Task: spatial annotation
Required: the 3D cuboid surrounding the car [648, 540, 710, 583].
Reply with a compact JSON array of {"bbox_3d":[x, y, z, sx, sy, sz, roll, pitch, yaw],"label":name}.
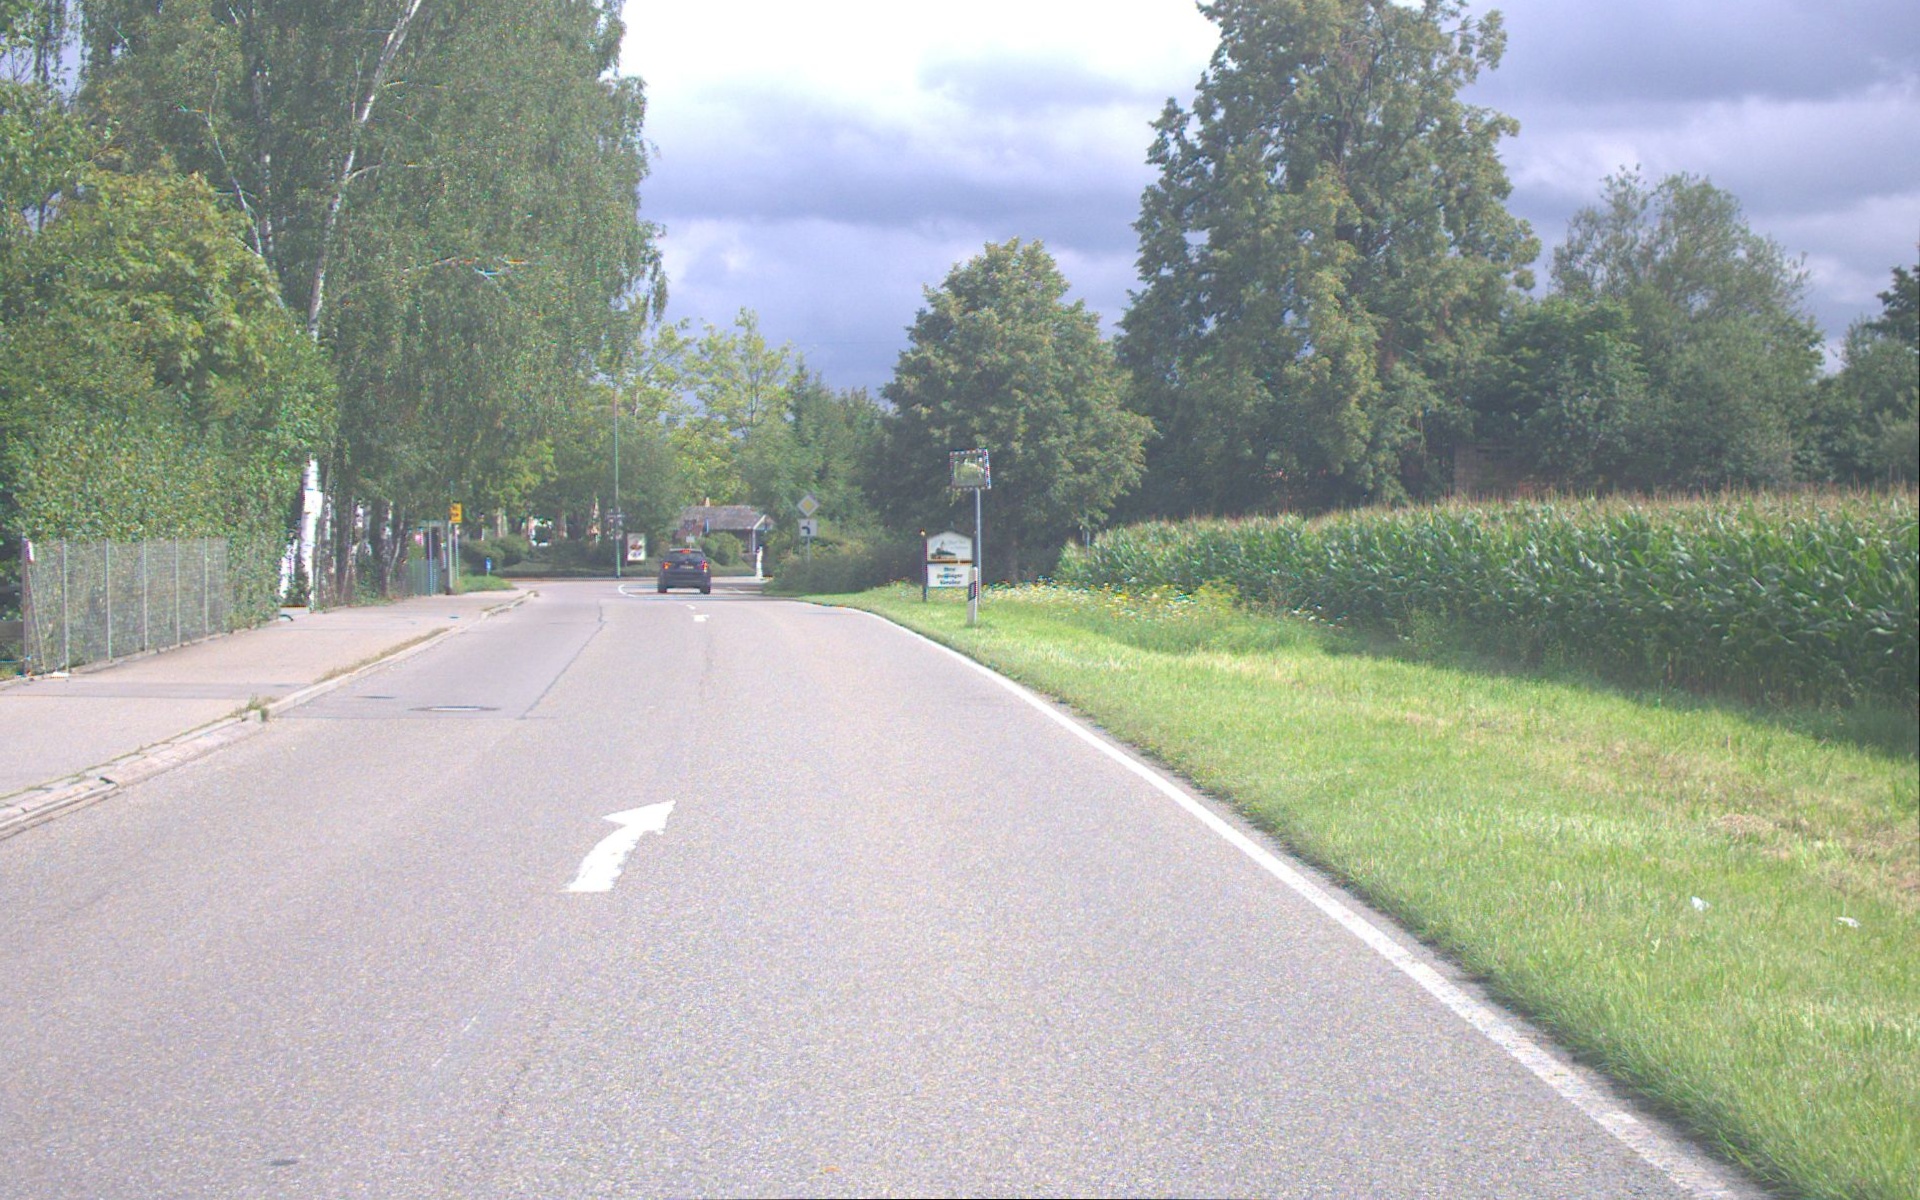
[{"bbox_3d":[-10.427,-1.437,127.344,1.993,1.579,4.001,0,1,-9],"label":"car"}]
